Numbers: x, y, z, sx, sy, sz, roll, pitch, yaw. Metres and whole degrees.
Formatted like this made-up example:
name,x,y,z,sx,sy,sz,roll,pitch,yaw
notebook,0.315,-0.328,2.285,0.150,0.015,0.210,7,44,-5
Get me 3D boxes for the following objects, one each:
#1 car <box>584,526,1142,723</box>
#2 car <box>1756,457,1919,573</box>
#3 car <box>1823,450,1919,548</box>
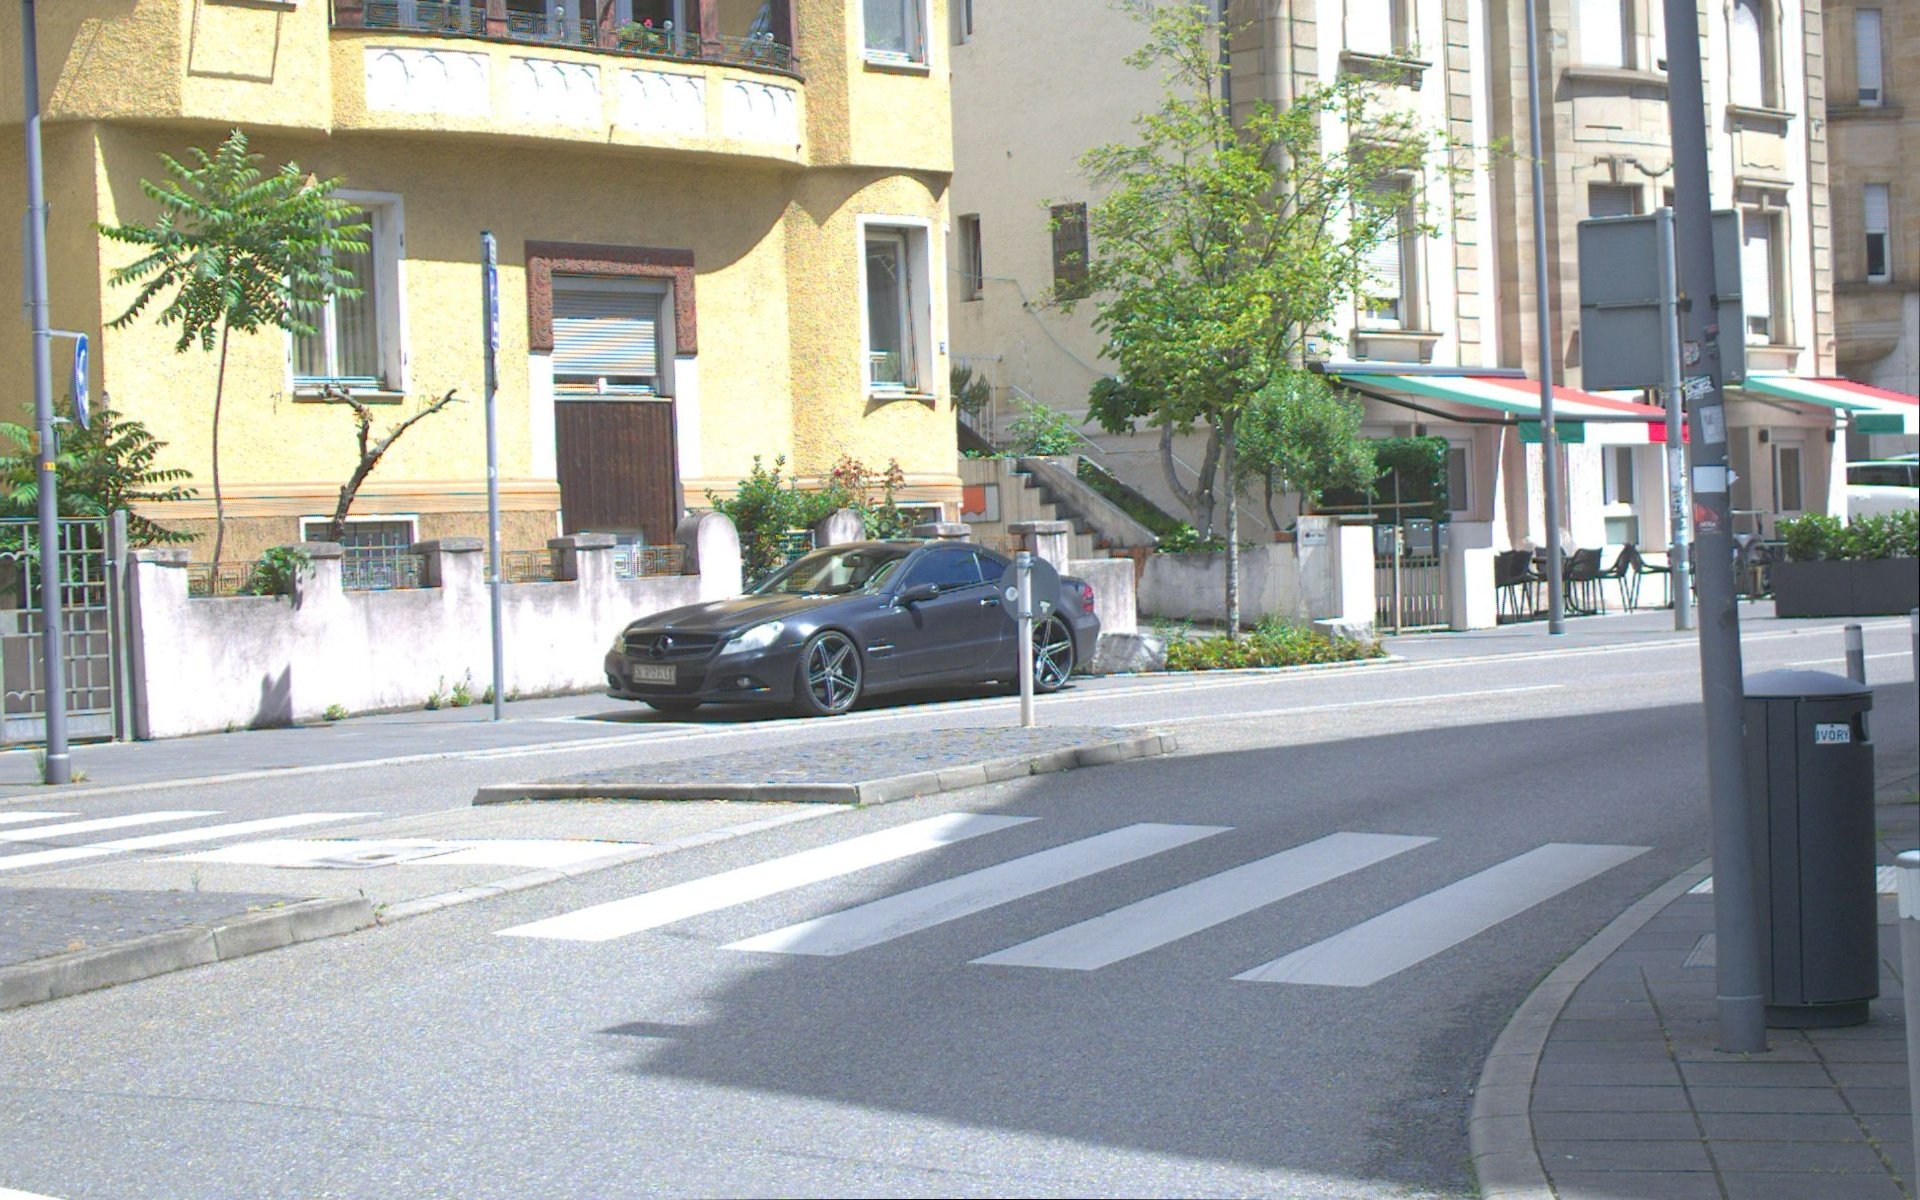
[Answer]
name,x,y,z,sx,sy,sz,roll,pitch,yaw
car,-0.681,0.130,26.991,1.714,1.241,4.400,3,5,45
car,15.145,-1.385,54.708,4.425,1.769,1.997,-1,2,28
car,17.389,-1.805,60.125,3.996,1.656,1.905,-1,2,39
